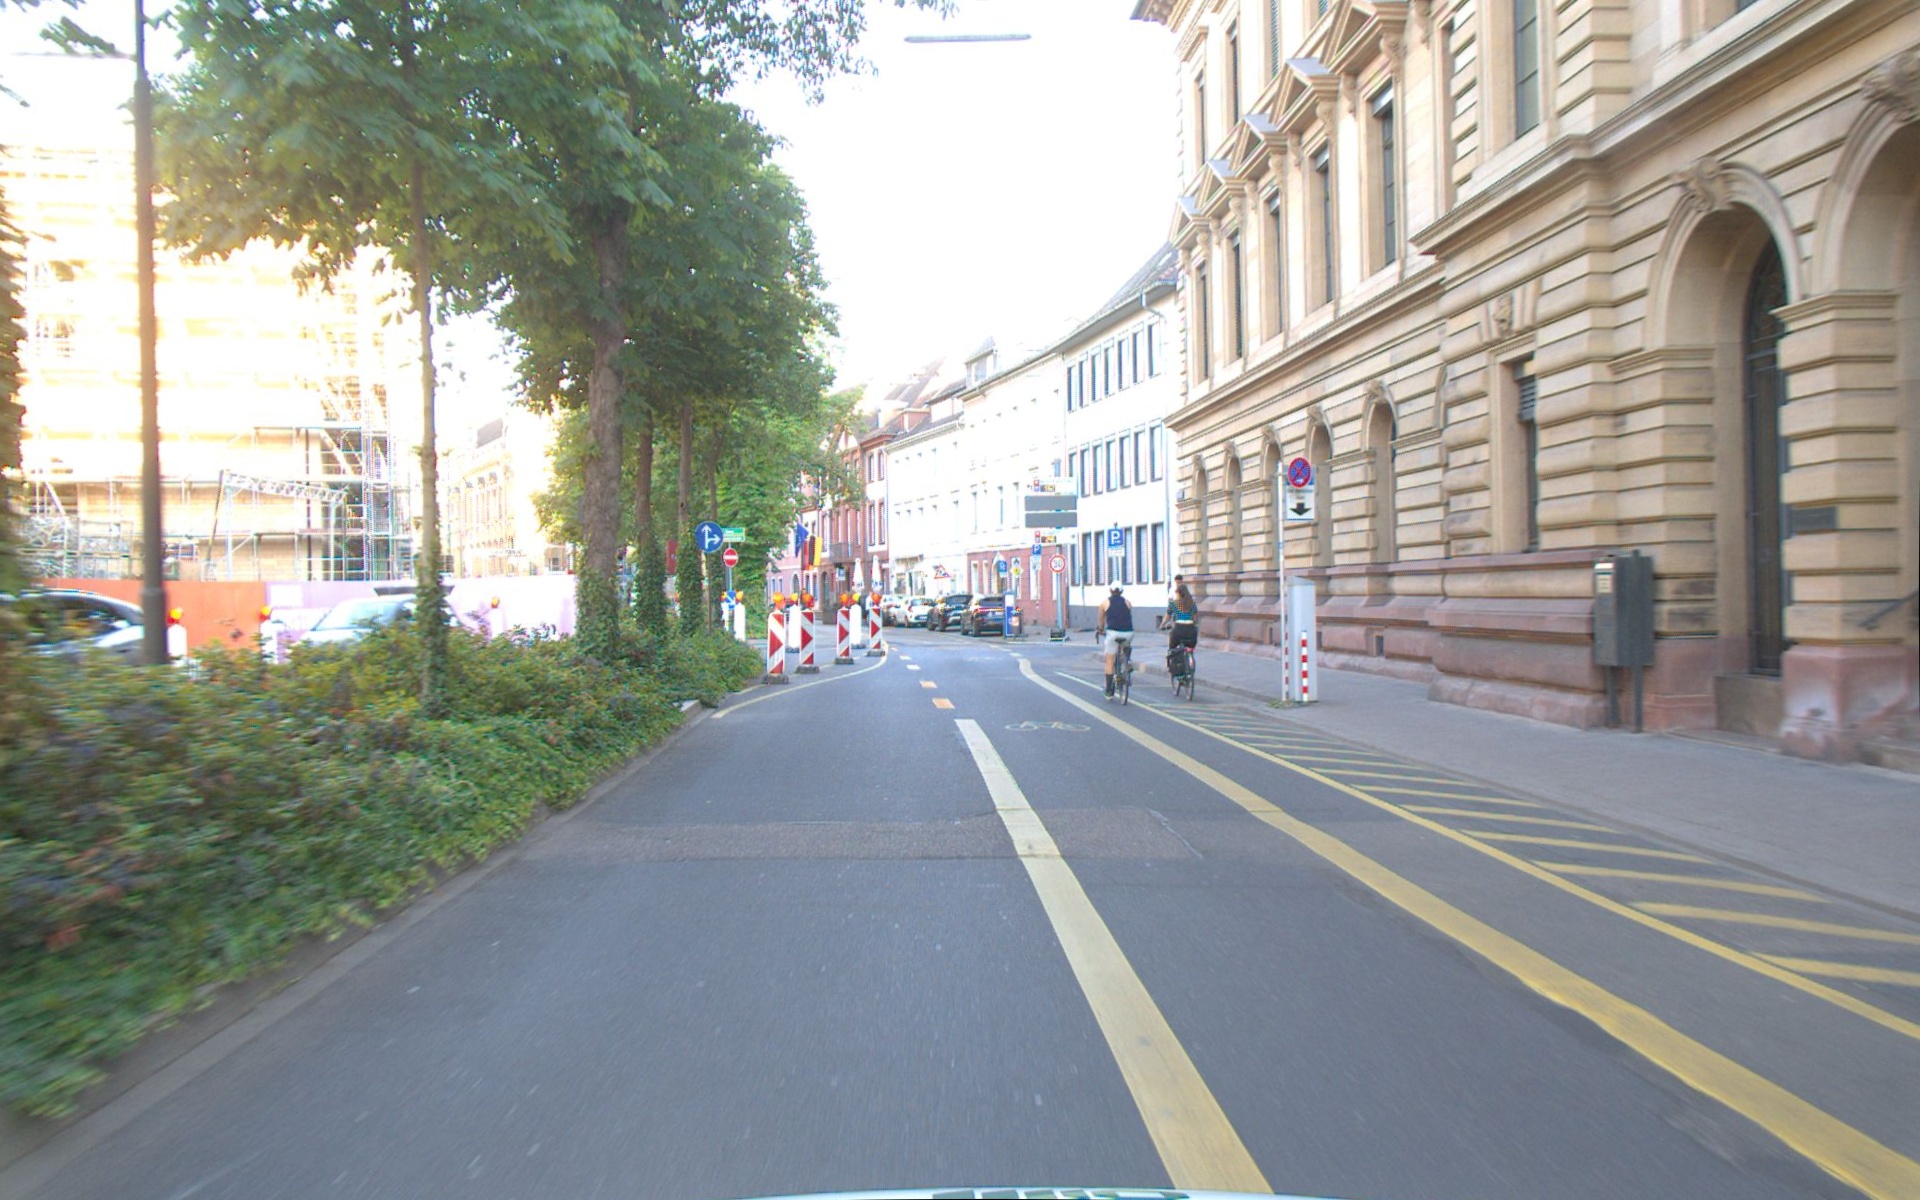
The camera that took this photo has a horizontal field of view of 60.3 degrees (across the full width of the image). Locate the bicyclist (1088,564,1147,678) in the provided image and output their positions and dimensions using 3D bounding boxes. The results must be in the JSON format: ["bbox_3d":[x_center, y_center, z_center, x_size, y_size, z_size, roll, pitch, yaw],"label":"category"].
[{"bbox_3d":[2.240,0.294,23.606,0.656,1.593,0.697,1,0,-10],"label":"bicyclist"}]

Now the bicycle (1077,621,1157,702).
[{"bbox_3d":[2.225,0.855,23.673,0.657,1.089,1.896,1,0,-10],"label":"bicycle"}]

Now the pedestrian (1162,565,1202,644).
[{"bbox_3d":[5.143,0.102,38.389,0.800,1.796,1.038,0,0,1],"label":"pedestrian"}]

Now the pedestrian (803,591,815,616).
[{"bbox_3d":[-10.861,0.266,118.779,0.738,1.793,0.583,-1,0,-17],"label":"pedestrian"}]

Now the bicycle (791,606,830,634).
[{"bbox_3d":[-5.993,0.791,66.443,0.745,1.055,2.121,-1,0,20],"label":"bicycle"}]

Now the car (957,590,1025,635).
[{"bbox_3d":[1.184,0.468,65.010,1.781,1.712,3.906,-1,0,-13],"label":"car"}]

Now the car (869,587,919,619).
[{"bbox_3d":[-3.431,0.172,85.197,1.782,1.587,3.849,-1,0,-15],"label":"car"}]

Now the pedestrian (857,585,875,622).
[{"bbox_3d":[-4.833,0.166,85.041,0.813,1.877,0.958,0,0,1],"label":"pedestrian"}]

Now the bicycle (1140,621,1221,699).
[{"bbox_3d":[3.310,0.888,25.074,0.640,1.089,2.254,1,0,-7],"label":"bicycle"}]

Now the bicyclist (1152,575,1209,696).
[{"bbox_3d":[3.329,0.530,25.024,0.637,1.791,0.863,1,0,-8],"label":"bicyclist"}]

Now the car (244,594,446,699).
[{"bbox_3d":[-10.497,0.743,28.575,1.804,1.578,4.175,-2,0,1],"label":"car"}]

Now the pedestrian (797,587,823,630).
[{"bbox_3d":[-6.002,0.354,66.392,0.719,1.703,0.896,-1,0,19],"label":"pedestrian"}]

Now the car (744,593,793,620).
[{"bbox_3d":[-11.496,0.390,99.093,1.789,1.587,3.834,-1,0,-25],"label":"car"}]

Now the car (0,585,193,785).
[{"bbox_3d":[-9.078,0.756,15.124,1.804,1.703,4.557,-2,0,2],"label":"car"}]

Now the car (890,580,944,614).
[{"bbox_3d":[-2.142,-0.148,80.871,1.782,1.587,3.849,-1,0,-15],"label":"car"}]

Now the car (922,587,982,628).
[{"bbox_3d":[-0.384,0.313,72.734,1.781,1.713,3.986,-1,0,-14],"label":"car"}]
